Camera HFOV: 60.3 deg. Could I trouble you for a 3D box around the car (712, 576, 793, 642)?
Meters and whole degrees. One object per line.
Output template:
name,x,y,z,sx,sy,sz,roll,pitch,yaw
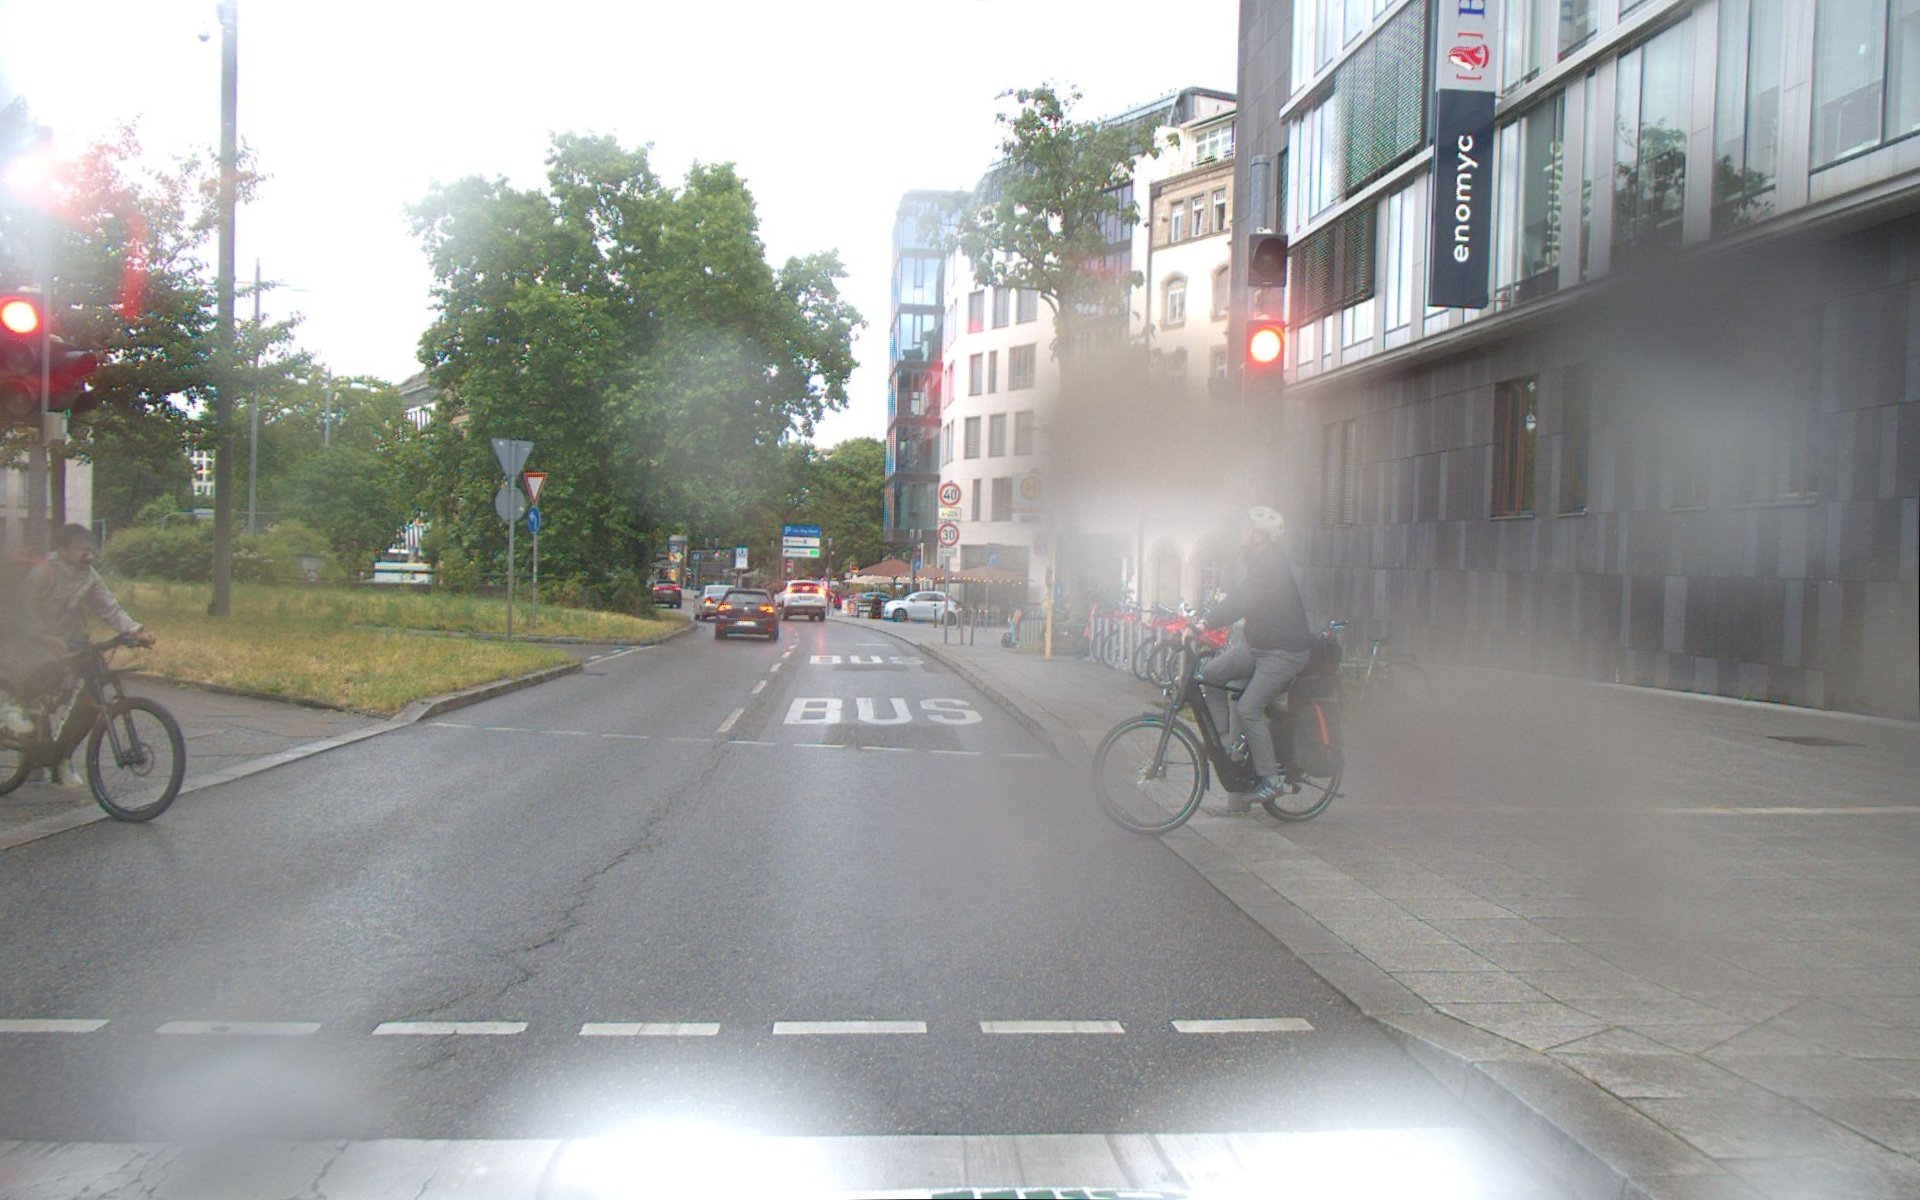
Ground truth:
car,-5.910,0.217,47.194,2.121,1.735,4.547,2,0,-7

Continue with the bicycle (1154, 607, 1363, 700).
bicycle,3.735,0.670,20.780,2.487,1.106,0.677,1,0,-6

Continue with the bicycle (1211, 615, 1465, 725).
bicycle,3.933,0.721,17.277,2.487,1.075,0.677,1,0,-6

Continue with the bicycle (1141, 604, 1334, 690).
bicycle,3.750,0.636,22.446,2.487,1.106,0.677,1,0,-6

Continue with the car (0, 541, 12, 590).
car,-30.691,-1.116,50.571,1.774,1.512,3.987,3,0,-13

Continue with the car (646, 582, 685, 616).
car,-15.759,-0.063,88.402,1.910,1.675,3.989,2,0,-11

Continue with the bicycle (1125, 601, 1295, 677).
bicycle,3.828,0.591,25.419,2.487,1.106,0.677,1,0,-6

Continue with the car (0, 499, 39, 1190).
car,-3.043,0.591,1.834,1.811,1.644,4.250,2,1,-4

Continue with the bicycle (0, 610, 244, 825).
bicycle,-5.591,0.668,10.137,2.018,1.133,1.012,3,-1,20

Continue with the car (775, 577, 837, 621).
car,-6.505,-0.048,69.592,2.140,1.730,3.989,2,0,-12

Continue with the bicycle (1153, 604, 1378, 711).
bicycle,3.598,0.672,19.553,2.487,1.106,0.677,3,0,-6

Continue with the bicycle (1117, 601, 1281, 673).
bicycle,3.801,0.584,26.397,2.487,1.106,0.677,1,0,-6

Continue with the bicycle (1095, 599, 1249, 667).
bicycle,3.575,0.552,27.985,2.487,1.106,0.677,1,0,-6

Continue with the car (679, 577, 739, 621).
car,-10.274,-0.078,67.459,1.913,1.675,4.228,2,0,-15

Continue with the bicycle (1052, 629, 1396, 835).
bicycle,1.672,0.781,10.361,2.101,1.165,0.756,1,0,-28

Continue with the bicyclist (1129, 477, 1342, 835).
bicyclist,1.726,0.338,10.389,1.069,2.119,0.756,1,0,-28

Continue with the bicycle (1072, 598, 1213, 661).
bicycle,3.335,0.544,30.339,2.487,1.106,0.627,1,0,-6

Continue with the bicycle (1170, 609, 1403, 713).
bicycle,3.687,0.686,18.751,2.487,1.106,0.677,1,0,-6

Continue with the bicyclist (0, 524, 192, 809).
bicyclist,-5.582,0.365,10.129,1.109,1.609,1.015,4,0,20

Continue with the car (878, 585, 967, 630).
car,-1.757,0.341,77.221,3.910,1.675,1.998,6,0,-5

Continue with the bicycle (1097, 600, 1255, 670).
bicycle,3.553,0.572,27.232,2.487,1.106,0.677,1,0,-6

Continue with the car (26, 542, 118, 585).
car,-34.447,-1.398,64.265,1.772,1.512,4.373,3,0,-10

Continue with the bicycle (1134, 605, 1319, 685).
bicycle,3.742,0.633,23.312,2.487,1.078,0.677,1,0,-6

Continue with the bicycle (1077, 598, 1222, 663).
bicycle,3.381,0.540,29.618,2.487,1.106,0.677,1,0,-6

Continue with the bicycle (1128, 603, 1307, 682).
bicycle,3.756,0.612,24.221,2.487,1.106,0.677,1,0,-6

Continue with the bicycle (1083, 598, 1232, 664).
bicycle,3.440,0.533,28.872,2.487,1.106,0.677,1,0,-6

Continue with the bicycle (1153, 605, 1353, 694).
bicycle,3.819,0.646,21.637,2.487,1.106,0.677,1,0,-6
